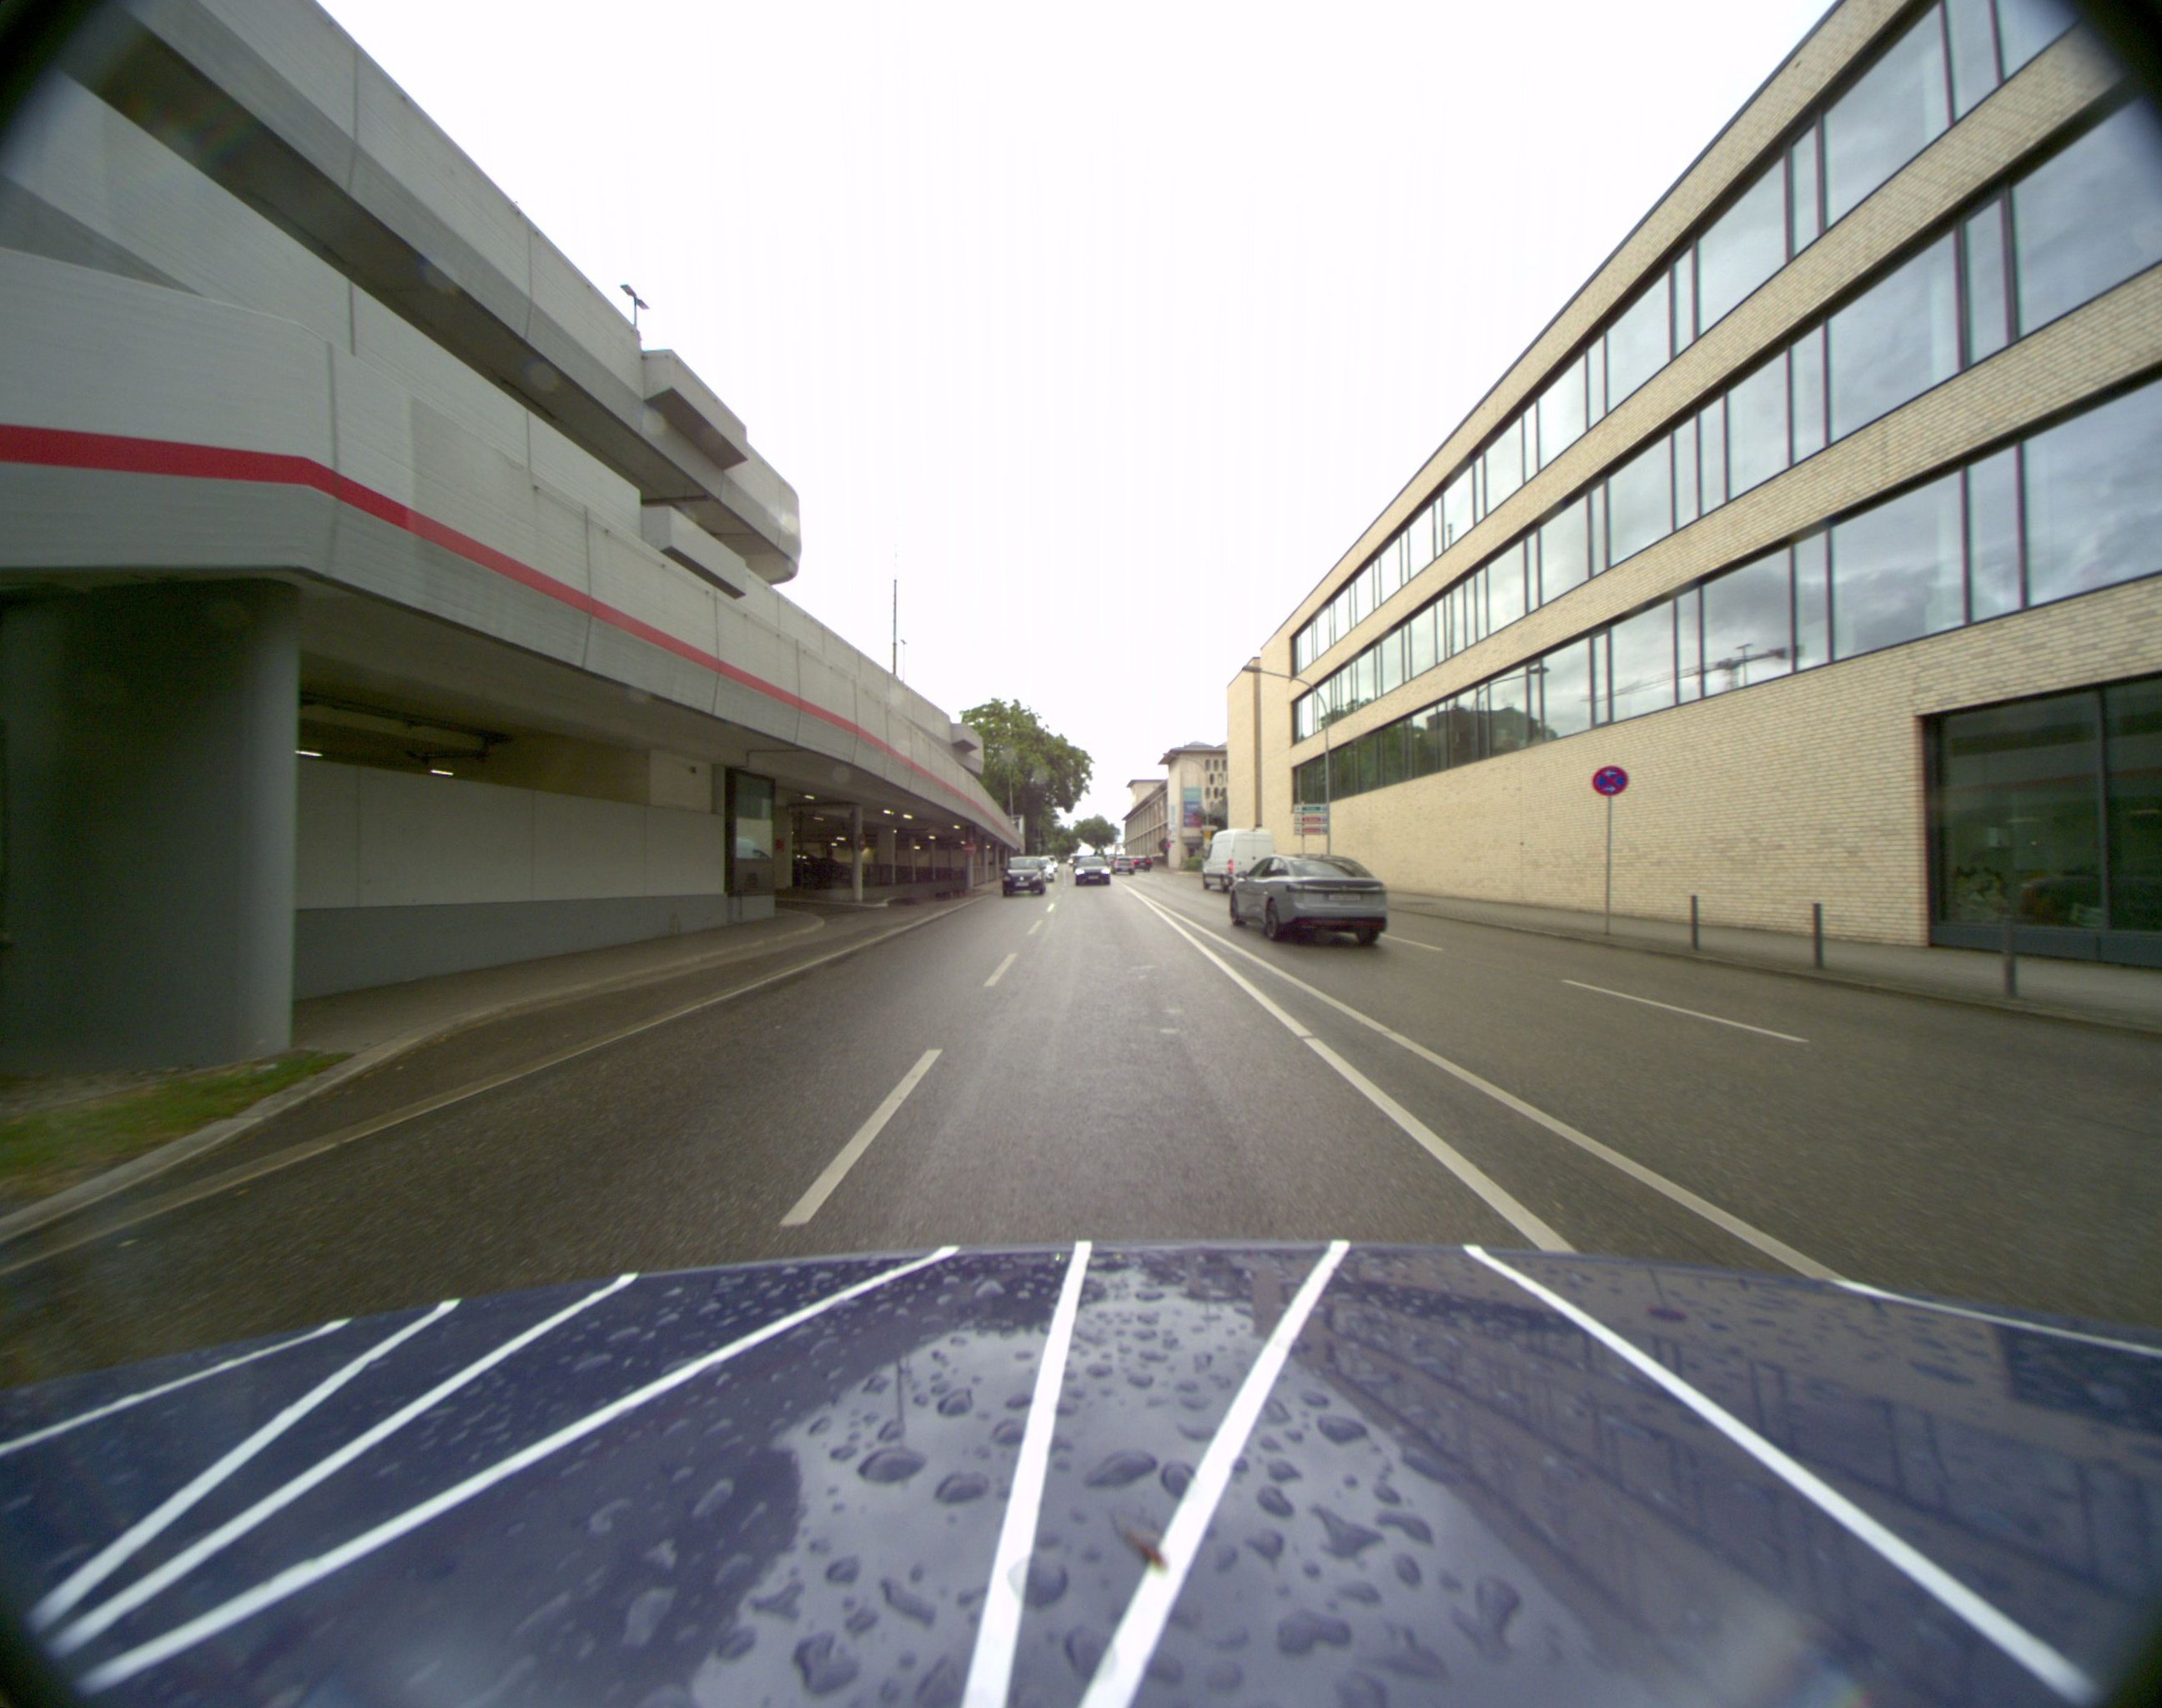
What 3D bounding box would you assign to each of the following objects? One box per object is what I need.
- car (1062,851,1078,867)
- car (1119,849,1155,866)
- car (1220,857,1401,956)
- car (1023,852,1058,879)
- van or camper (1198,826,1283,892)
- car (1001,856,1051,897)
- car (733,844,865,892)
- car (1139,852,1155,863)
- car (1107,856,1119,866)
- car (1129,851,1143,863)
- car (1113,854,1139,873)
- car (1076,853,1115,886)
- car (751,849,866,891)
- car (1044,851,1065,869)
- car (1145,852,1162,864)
[{"bbox_3d":[-1.450,0.656,102.281,1.998,2.002,3.999,-2,1,0],"label":"car"},{"bbox_3d":[5.783,0.393,78.700,1.863,1.652,3.992,-2,0,-26],"label":"car"},{"bbox_3d":[4.028,0.835,14.234,1.888,1.489,4.561,1,0,-2],"label":"car"},{"bbox_3d":[-2.438,0.663,46.789,1.915,1.443,4.036,-2,1,0],"label":"car"},{"bbox_3d":[6.760,0.176,32.971,2.108,2.567,5.906,1,0,-3],"label":"van or camper"},{"bbox_3d":[-2.208,0.874,31.371,1.683,1.516,3.990,-2,0,1],"label":"car"},{"bbox_3d":[-10.685,0.591,28.903,4.251,1.650,2.003,-1,-4,10],"label":"car"},{"bbox_3d":[9.256,0.470,106.809,1.800,1.516,4.056,-2,0,1],"label":"car"},{"bbox_3d":[5.216,1.082,122.885,1.800,1.516,4.056,-2,0,1],"label":"car"},{"bbox_3d":[8.842,0.516,123.083,1.998,1.819,3.999,-2,1,0],"label":"car"},{"bbox_3d":[3.577,0.747,61.361,1.745,1.461,3.881,1,0,-1],"label":"car"},{"bbox_3d":[0.750,0.766,38.990,1.852,1.516,3.990,-2,0,1],"label":"car"},{"bbox_3d":[-11.774,0.716,33.024,4.251,1.650,2.003,-1,-4,10],"label":"car"},{"bbox_3d":[-2.598,0.595,75.103,1.727,1.628,3.999,-2,1,1],"label":"car"},{"bbox_3d":[9.566,0.552,100.792,1.800,1.516,4.056,-2,0,1],"label":"car"}]
